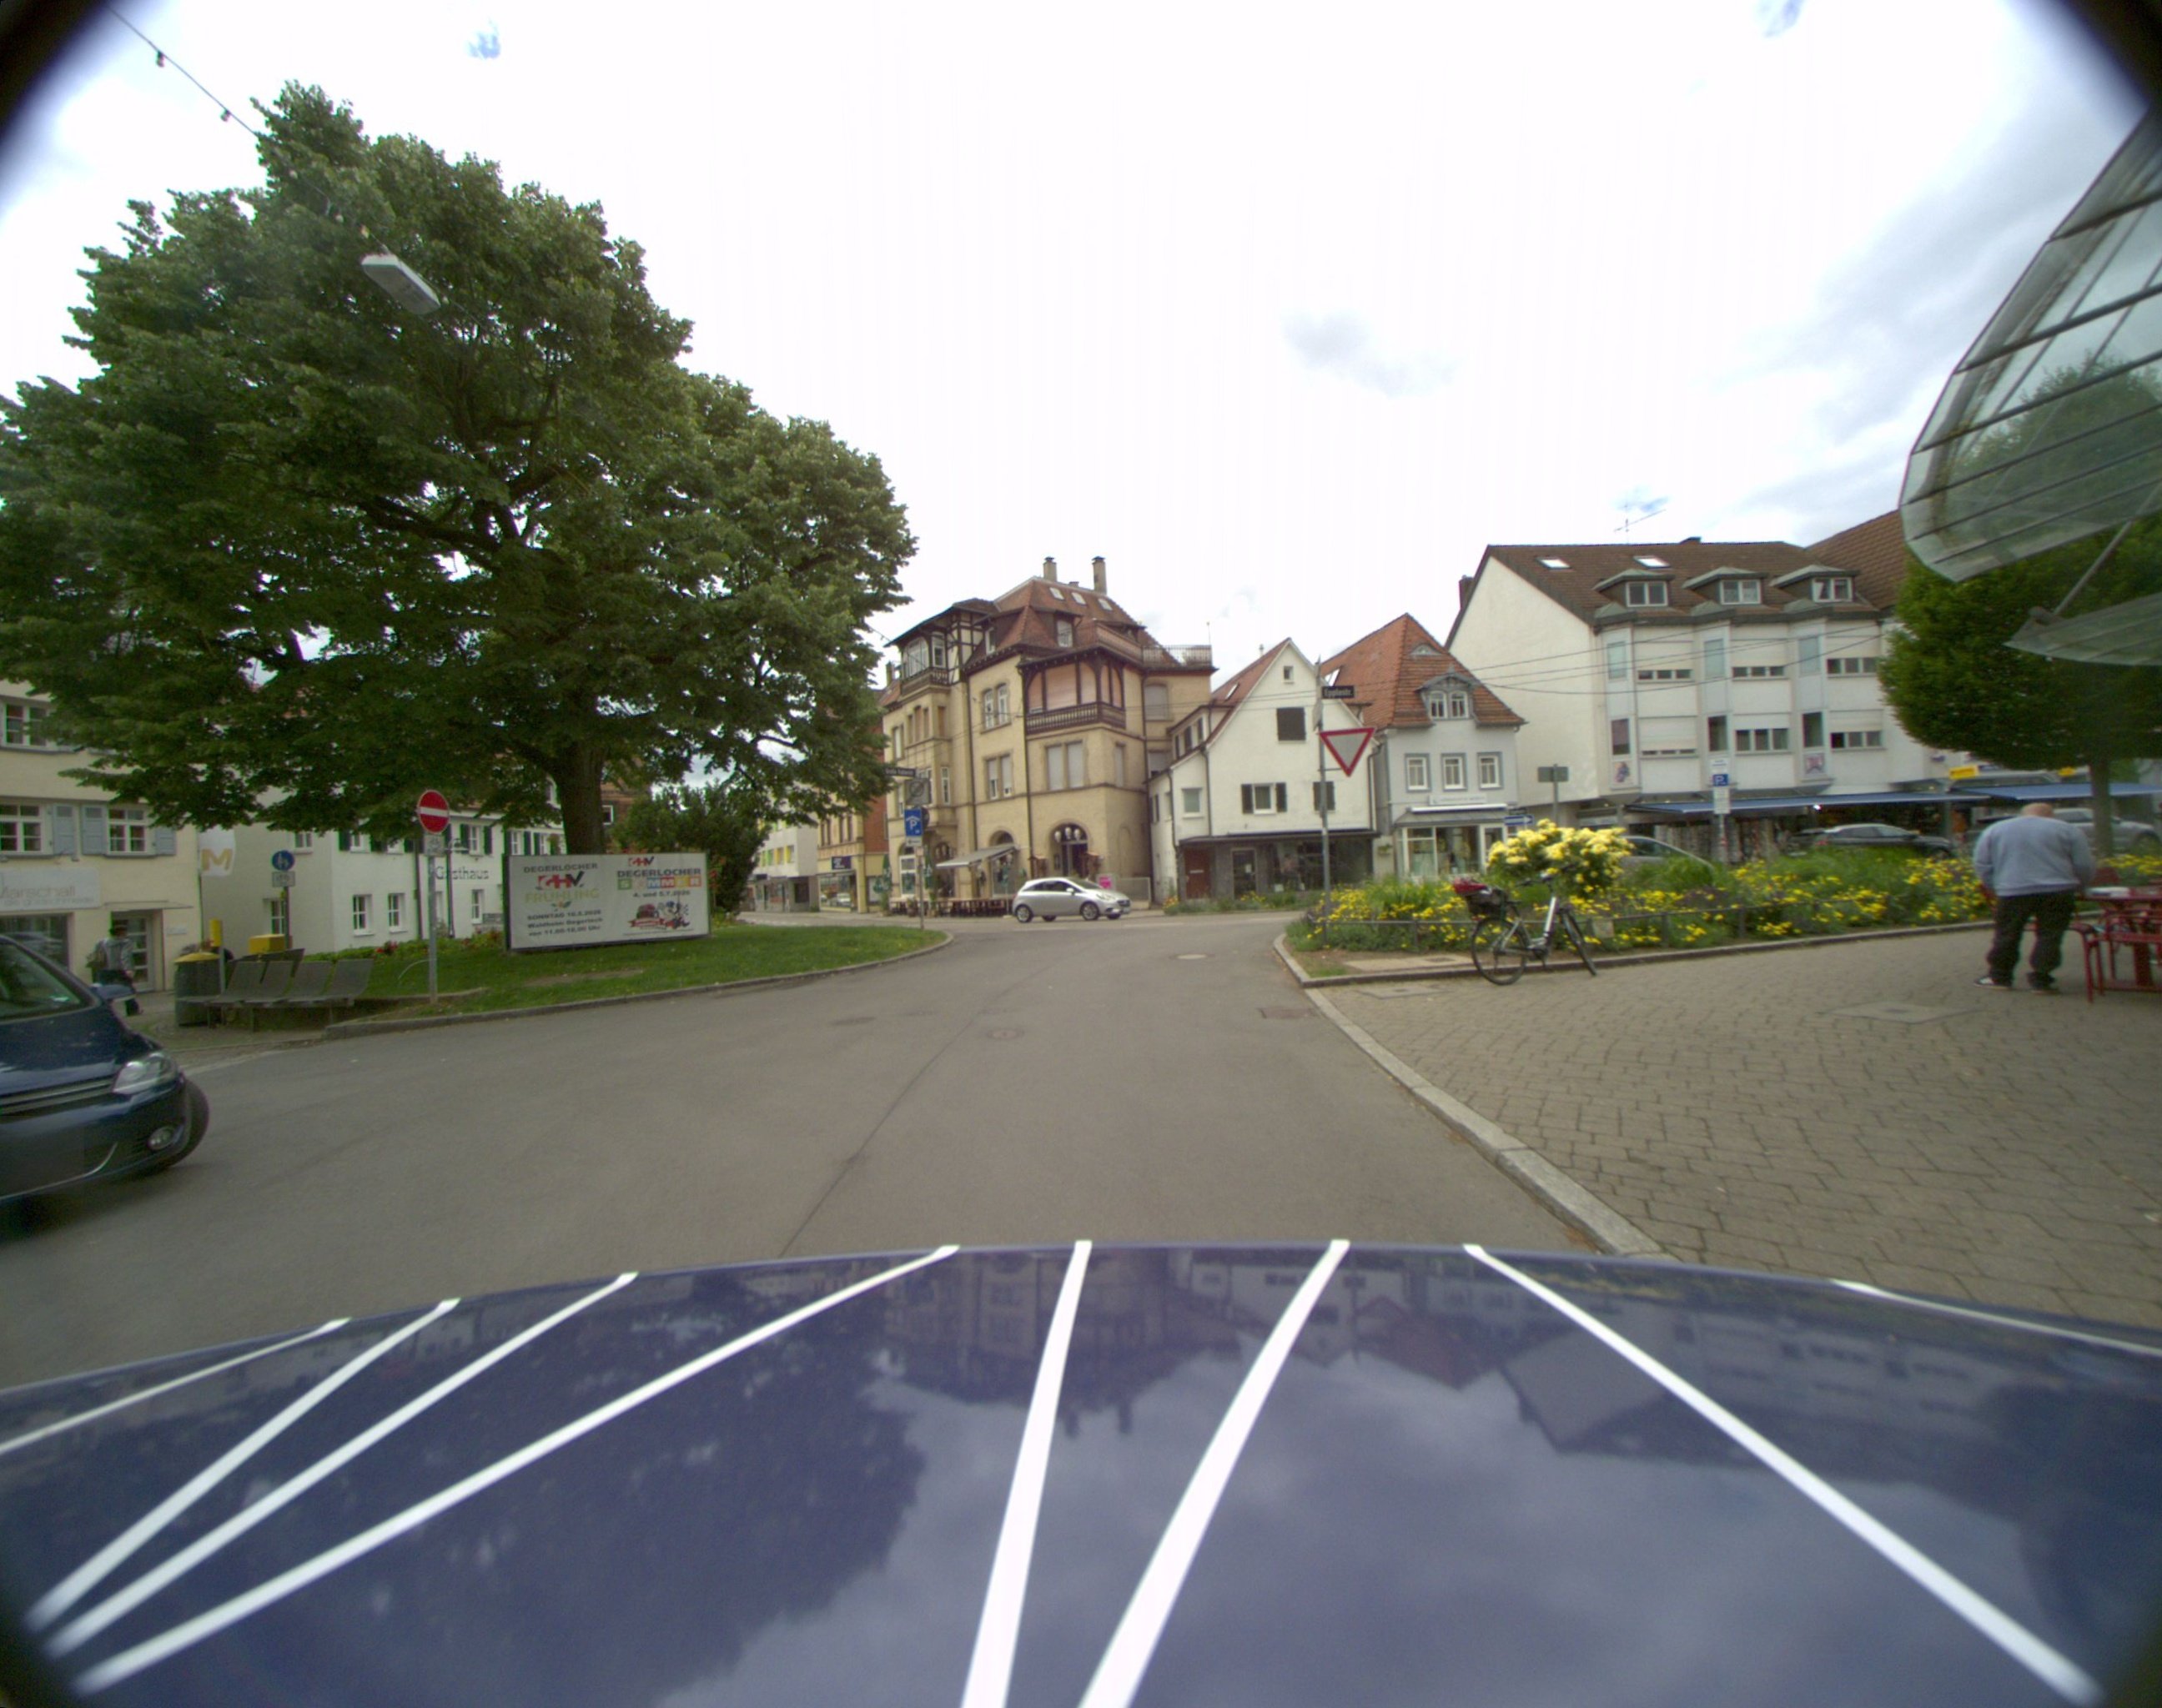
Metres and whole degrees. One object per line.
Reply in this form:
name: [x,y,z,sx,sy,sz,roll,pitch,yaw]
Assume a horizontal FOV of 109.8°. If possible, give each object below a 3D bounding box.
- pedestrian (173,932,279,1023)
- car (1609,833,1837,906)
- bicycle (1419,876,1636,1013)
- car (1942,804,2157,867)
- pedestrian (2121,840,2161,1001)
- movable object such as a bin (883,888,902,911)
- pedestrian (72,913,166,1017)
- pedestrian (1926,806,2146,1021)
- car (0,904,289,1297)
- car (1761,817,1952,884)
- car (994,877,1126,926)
pedestrian: [-14.816,2.108,13.202,0.858,1.372,0.973,-4,-1,-26]
car: [16.406,0.434,19.668,3.993,1.617,1.899,-3,-2,14]
bicycle: [4.778,0.923,8.167,1.981,1.232,0.743,-3,-1,-14]
car: [30.685,-0.556,24.178,4.425,1.721,2.000,-3,-1,-4]
pedestrian: [9.355,0.540,6.298,0.658,1.333,0.695,-3,-1,-26]
movable object such as a bin: [-12.464,3.008,50.284,0.946,1.371,0.821,-5,4,-31]
pedestrian: [-17.245,1.970,13.636,0.710,1.734,0.797,-4,0,19]
pedestrian: [7.426,0.433,5.937,0.703,1.516,0.866,-3,-1,-26]
car: [-6.807,1.282,4.166,4.014,1.694,1.865,-4,1,20]
car: [24.442,-0.090,24.063,3.997,1.843,2.000,-3,-1,-2]
car: [-0.718,1.574,25.156,3.990,1.347,1.759,-4,0,30]
